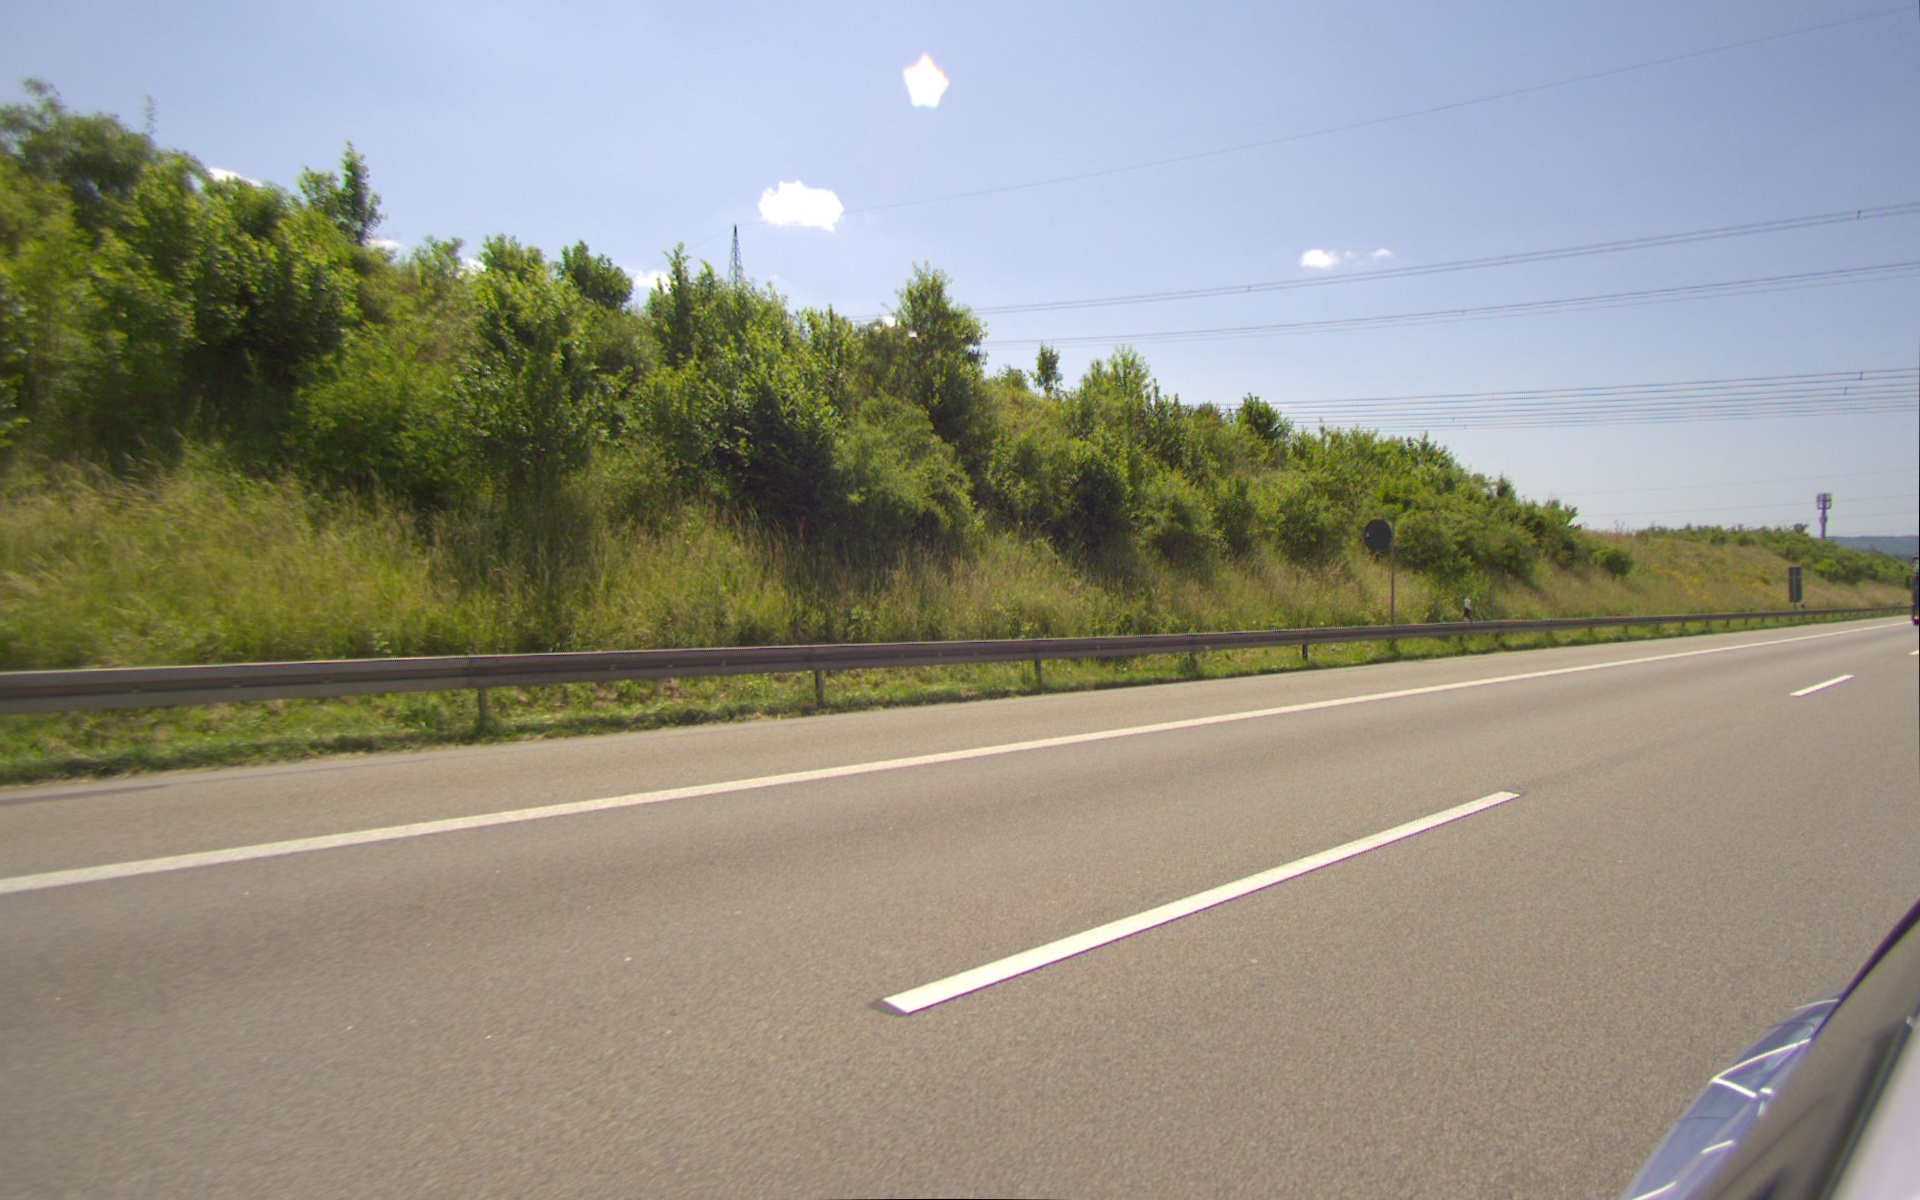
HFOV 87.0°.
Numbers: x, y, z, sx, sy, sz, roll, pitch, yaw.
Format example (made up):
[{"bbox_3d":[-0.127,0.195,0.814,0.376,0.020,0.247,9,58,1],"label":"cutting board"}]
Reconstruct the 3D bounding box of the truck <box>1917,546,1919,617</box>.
[{"bbox_3d":[58.355,-1.105,59.224,6.670,4.071,2.757,-1,1,-41],"label":"truck"}]
